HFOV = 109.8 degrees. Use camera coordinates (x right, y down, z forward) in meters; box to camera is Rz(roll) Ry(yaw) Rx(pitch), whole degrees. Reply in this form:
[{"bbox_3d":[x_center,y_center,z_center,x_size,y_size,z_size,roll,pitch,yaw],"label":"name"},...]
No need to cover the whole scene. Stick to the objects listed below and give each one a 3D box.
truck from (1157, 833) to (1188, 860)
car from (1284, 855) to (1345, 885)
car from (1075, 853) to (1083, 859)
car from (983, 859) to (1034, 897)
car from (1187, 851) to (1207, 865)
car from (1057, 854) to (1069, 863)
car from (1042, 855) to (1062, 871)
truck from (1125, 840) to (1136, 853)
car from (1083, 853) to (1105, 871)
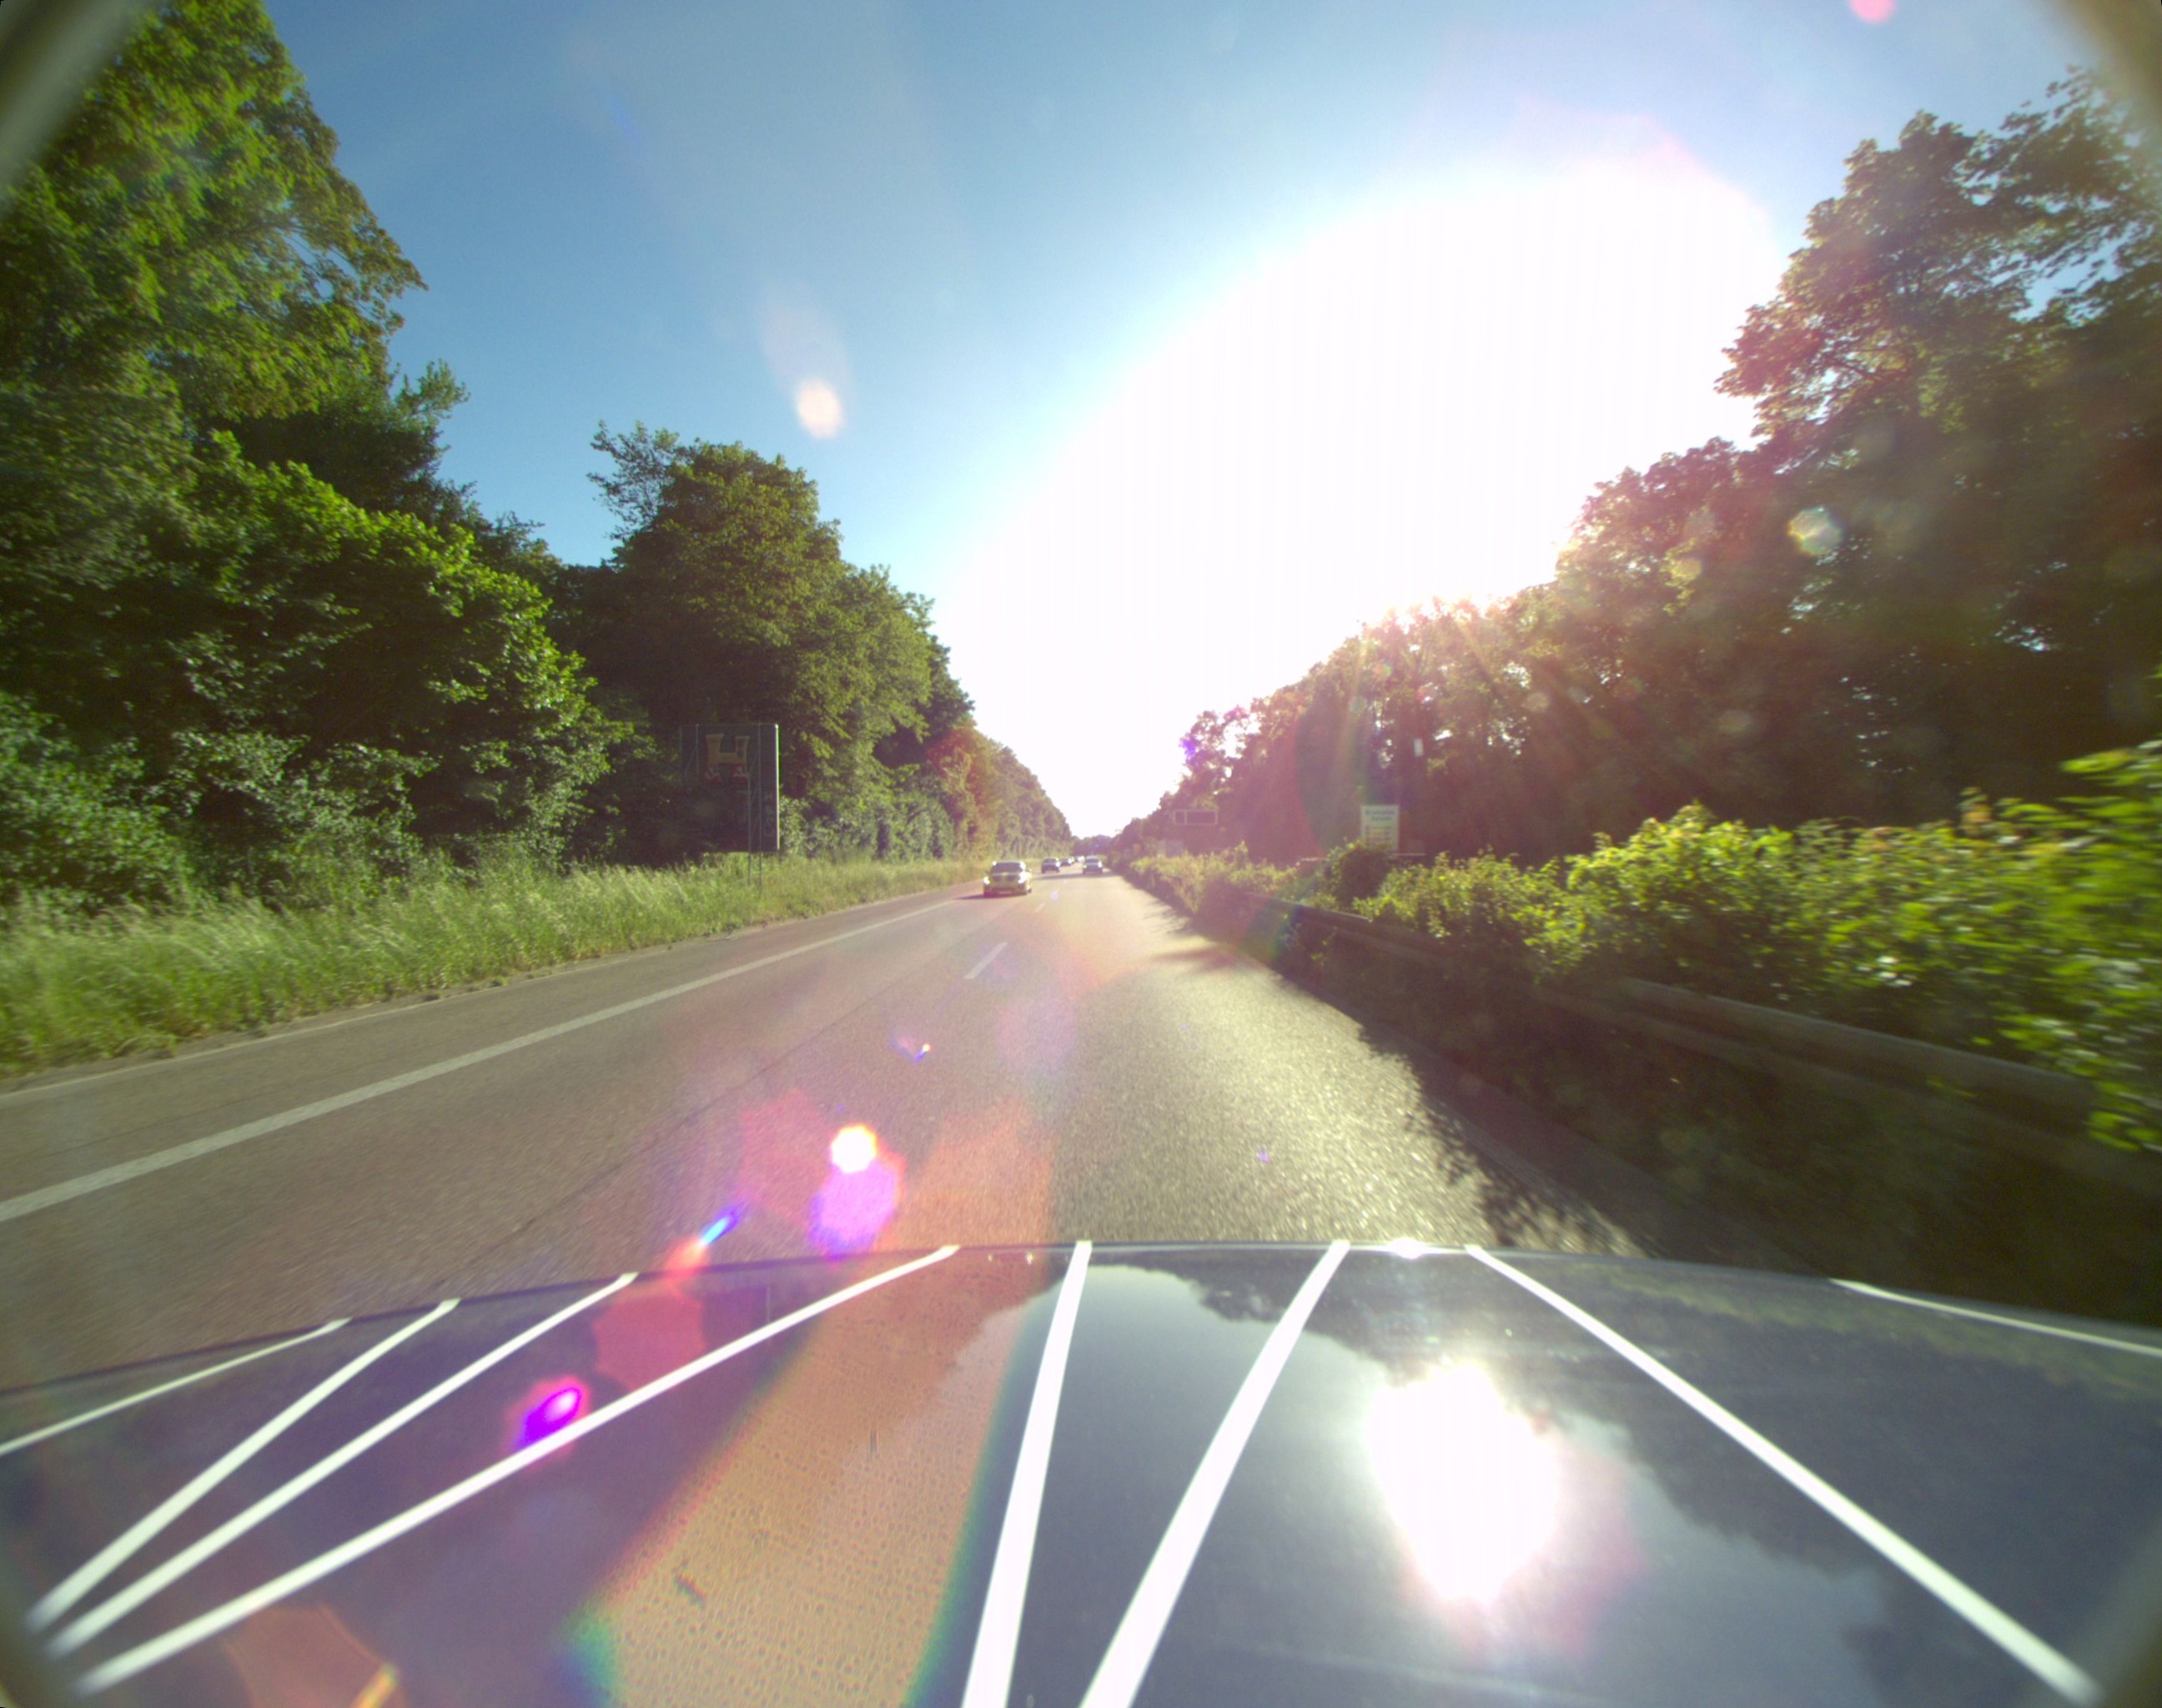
[{"bbox_3d":[14.137,-1.114,118.840,3.251,3.989,14.451,-2,0,1],"label":"truck"},{"bbox_3d":[12.752,0.854,41.805,1.998,1.415,4.509,-2,1,1],"label":"car"},{"bbox_3d":[-0.530,0.605,200.985,1.794,1.440,3.877,-2,0,0],"label":"car"},{"bbox_3d":[-3.087,1.002,33.107,1.794,1.440,3.877,-2,0,0],"label":"car"},{"bbox_3d":[13.388,0.441,88.096,1.768,1.464,3.792,-2,1,1],"label":"car"},{"bbox_3d":[-2.910,0.758,123.644,1.794,1.440,3.877,-2,0,0],"label":"car"},{"bbox_3d":[-2.928,0.882,76.868,1.794,1.440,3.877,-2,0,0],"label":"car"},{"bbox_3d":[15.414,-2.469,237.784,2.776,3.932,11.466,-2,1,1],"label":"truck"},{"bbox_3d":[1.147,0.694,66.886,1.890,1.440,3.878,-2,0,1],"label":"car"}]
